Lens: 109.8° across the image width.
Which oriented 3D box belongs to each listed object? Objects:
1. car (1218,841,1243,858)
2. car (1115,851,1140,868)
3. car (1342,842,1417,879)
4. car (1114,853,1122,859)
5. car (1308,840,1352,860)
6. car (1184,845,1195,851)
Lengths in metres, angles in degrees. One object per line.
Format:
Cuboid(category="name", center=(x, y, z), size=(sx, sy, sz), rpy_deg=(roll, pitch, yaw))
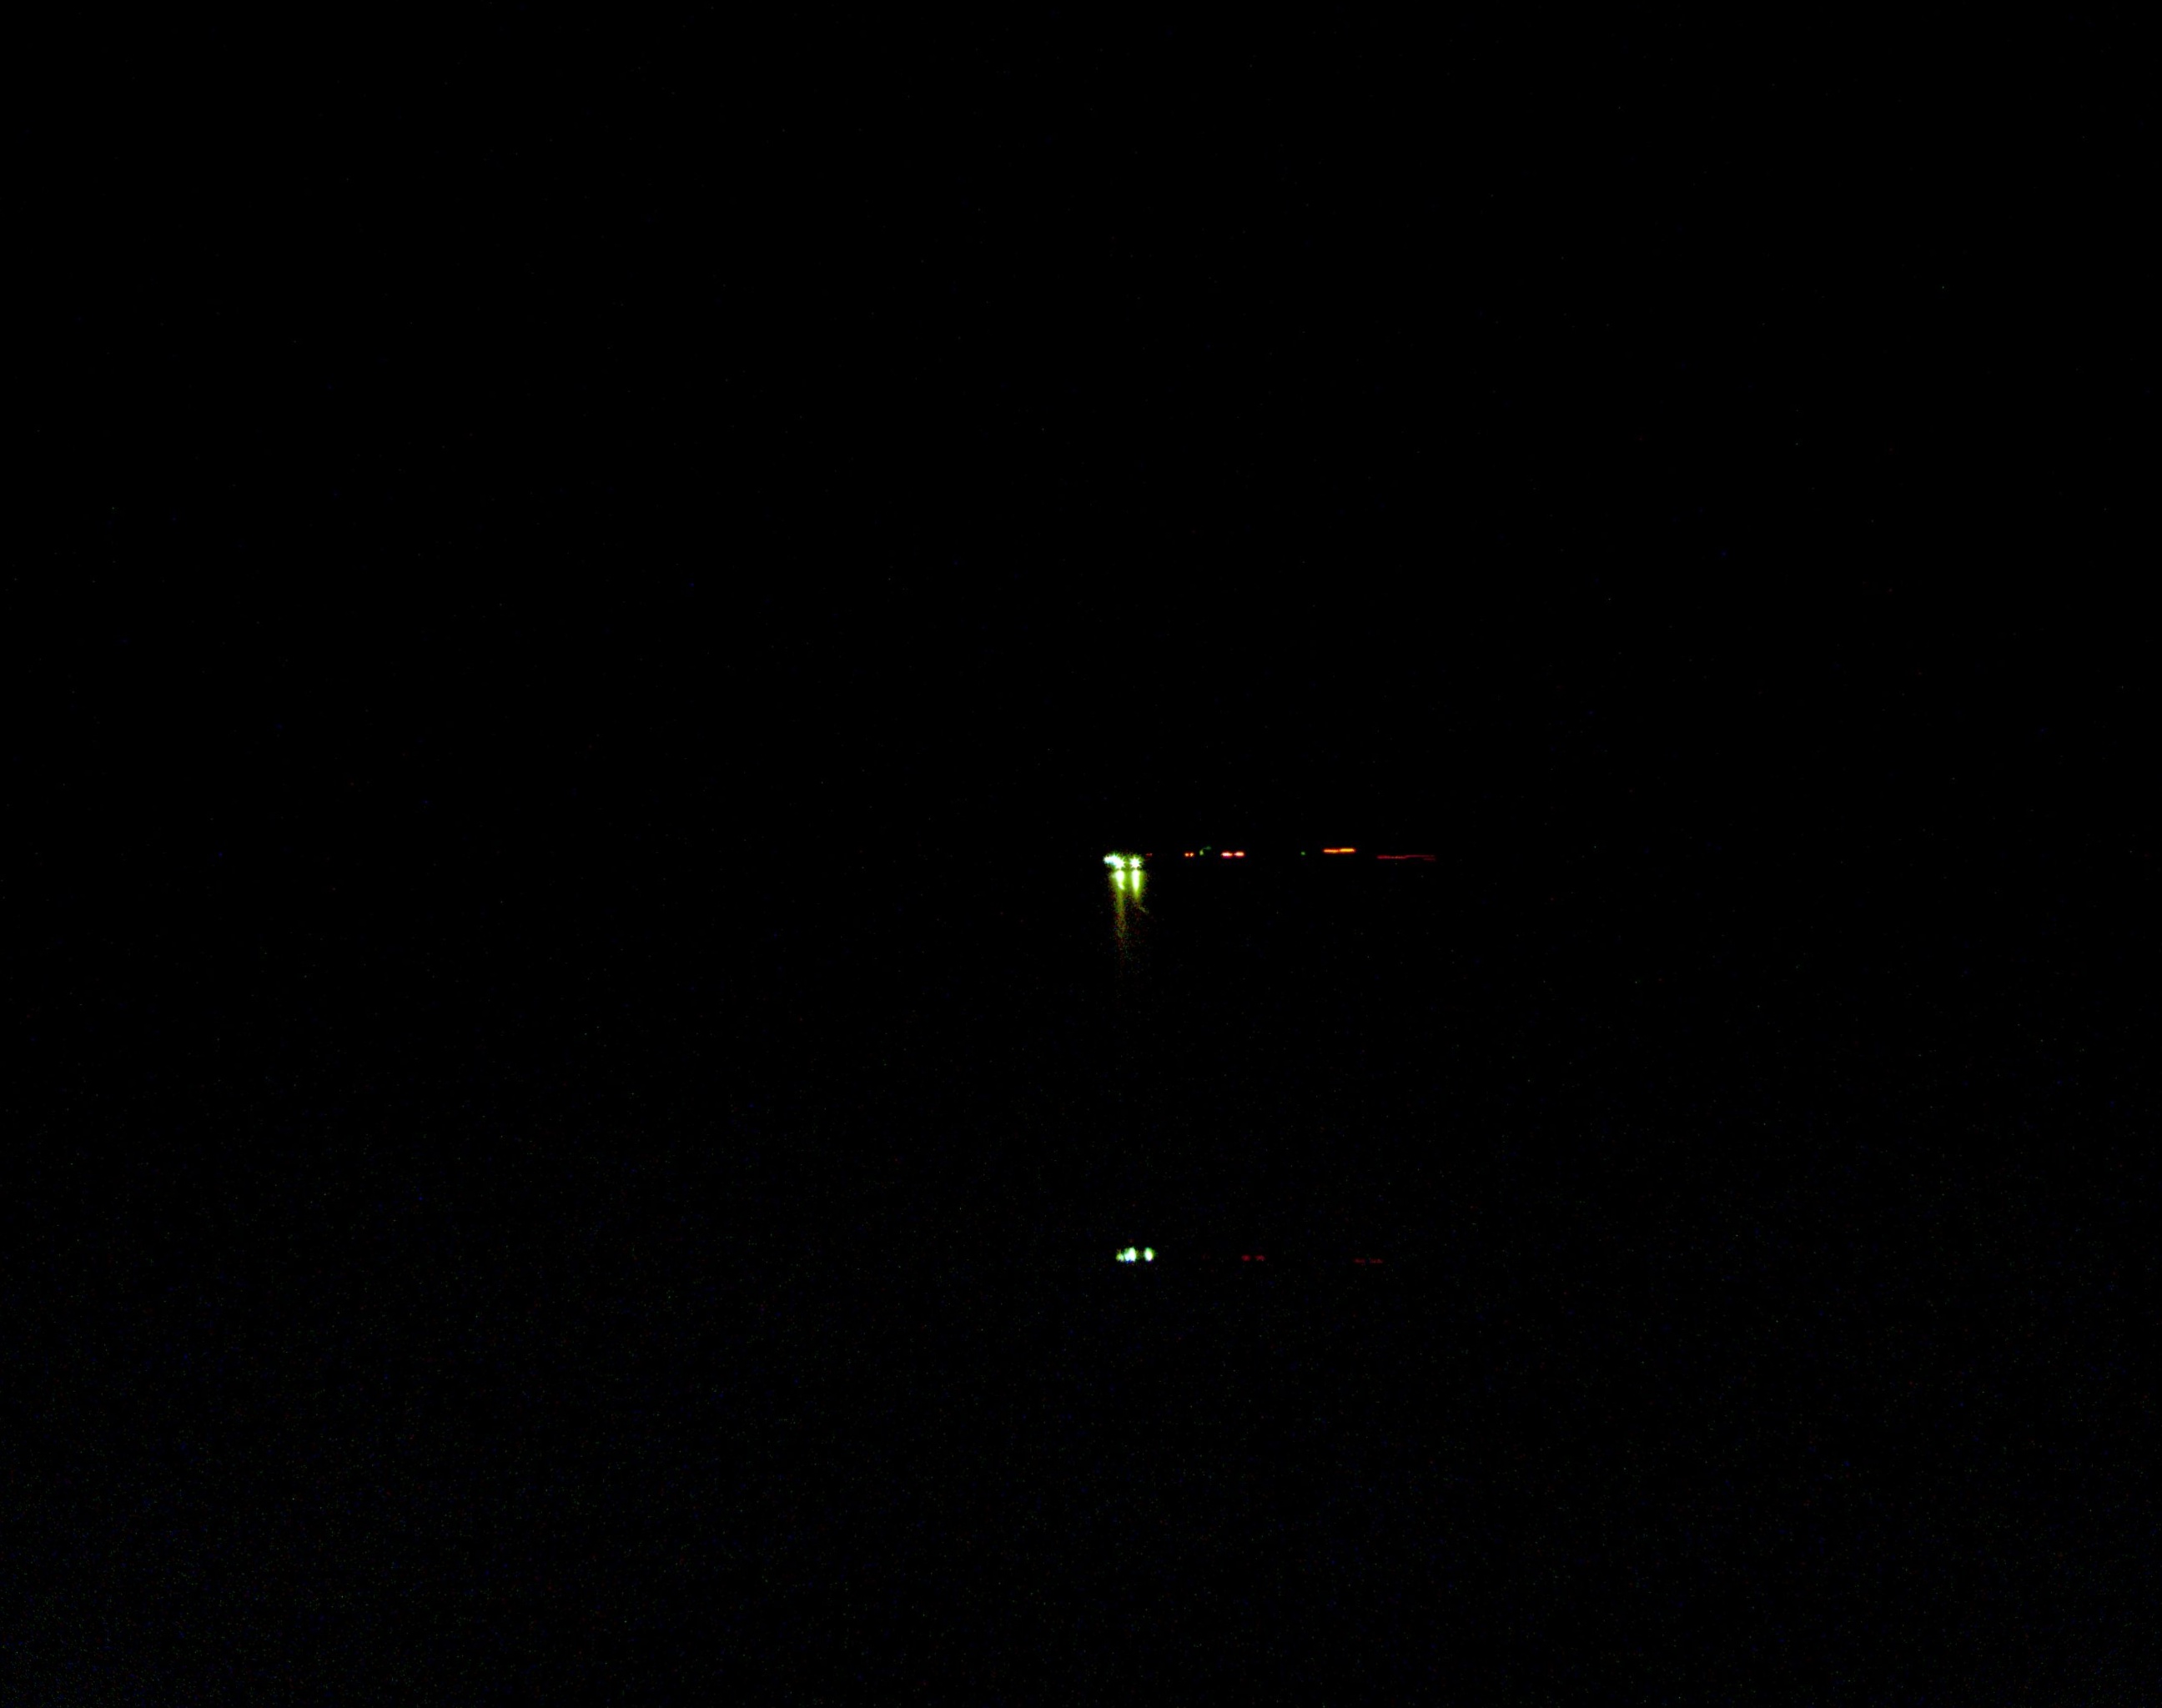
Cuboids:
Cuboid(category="car", center=(16.668, -0.479, 84.934), size=(1.998, 1.724, 4.659), rpy_deg=(-2, 0, 1))
Cuboid(category="car", center=(4.469, 0.553, 73.673), size=(1.999, 1.422, 4.330), rpy_deg=(-3, -1, -1))
Cuboid(category="car", center=(15.043, 0.310, 38.591), size=(1.998, 1.724, 4.659), rpy_deg=(-2, 0, 1))
Cuboid(category="car", center=(11.354, 0.627, 233.016), size=(1.998, 1.724, 4.225), rpy_deg=(-3, -1, 0))
Cuboid(category="car", center=(20.401, -0.347, 62.513), size=(1.998, 1.500, 5.185), rpy_deg=(-2, 0, 1))
Cuboid(category="car", center=(27.328, -1.451, 191.465), size=(1.999, 1.500, 3.999), rpy_deg=(-2, 0, -1))
